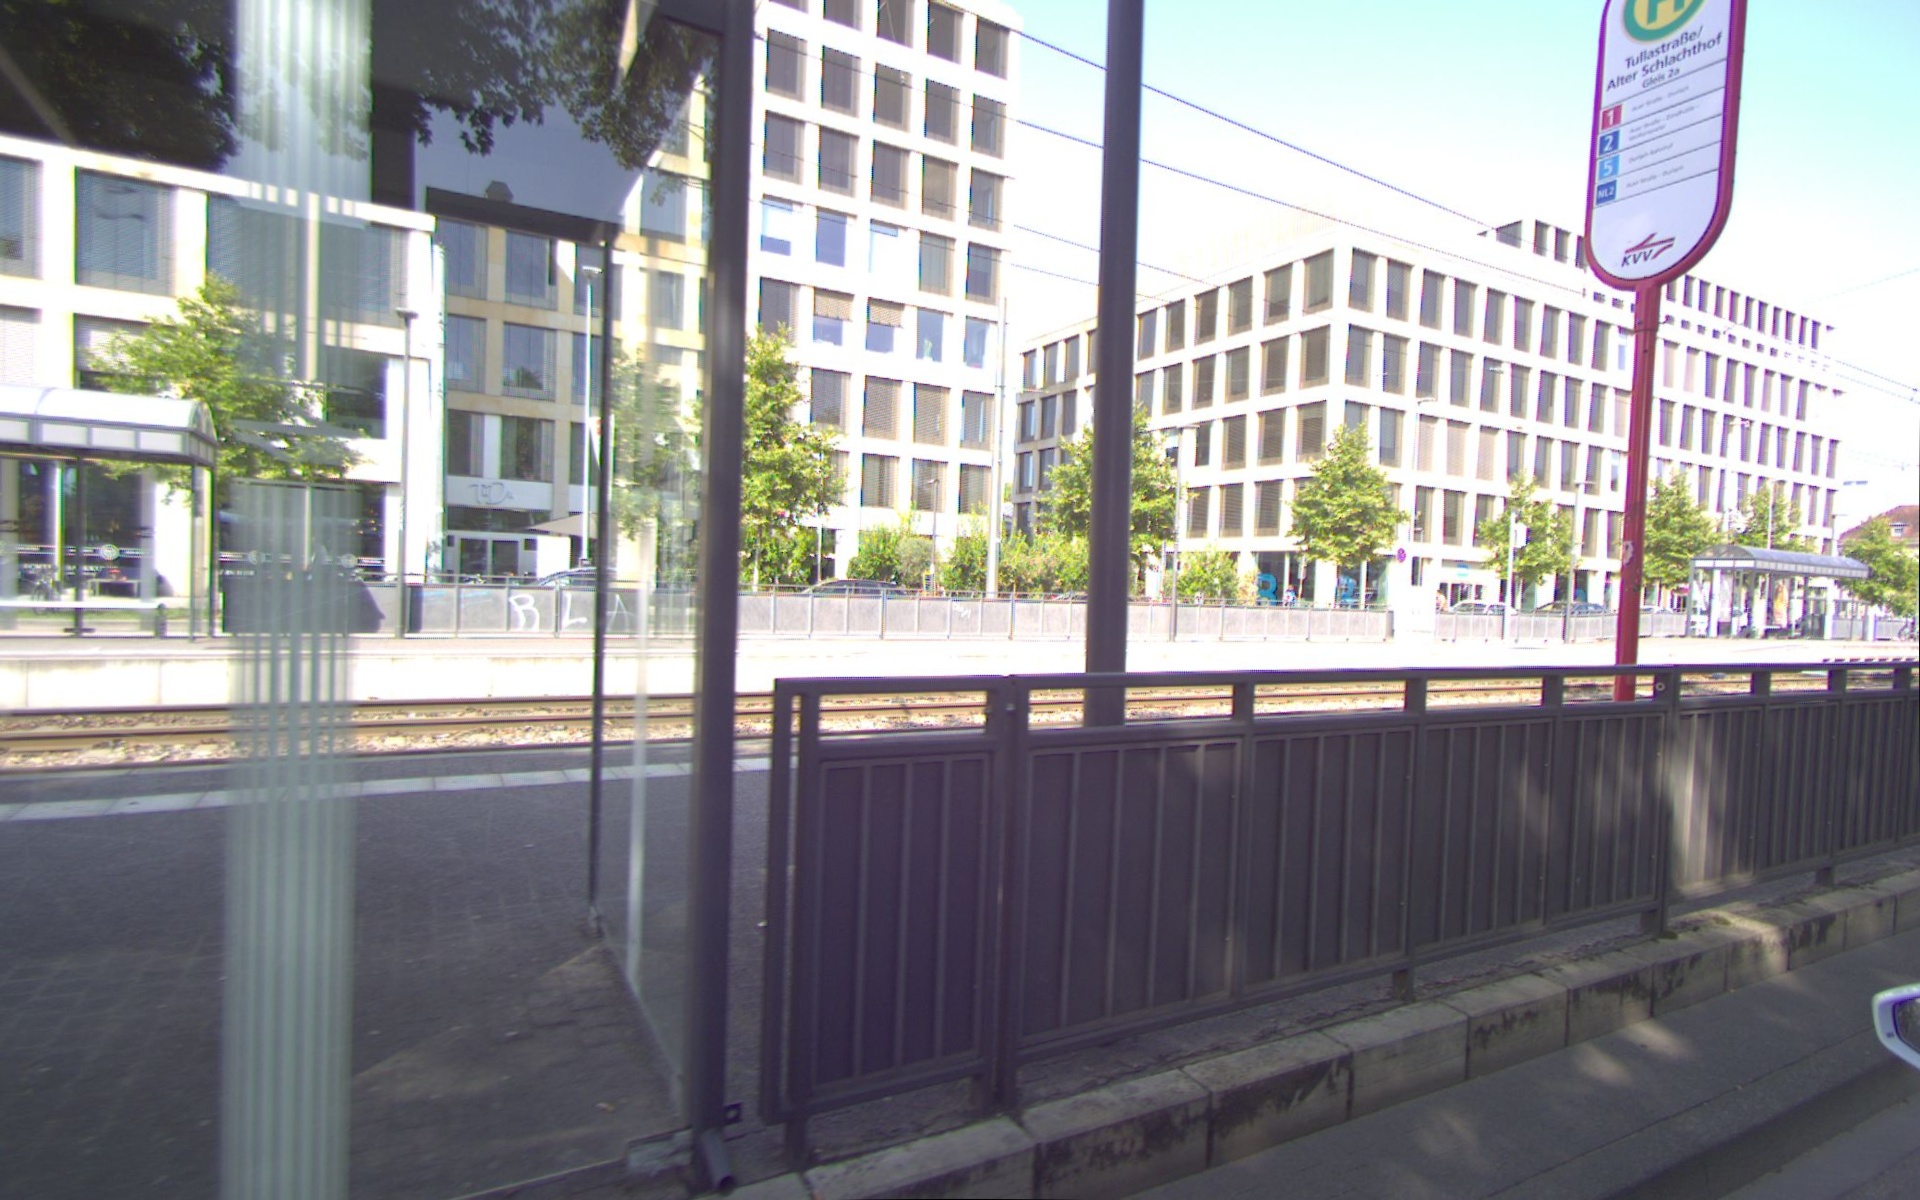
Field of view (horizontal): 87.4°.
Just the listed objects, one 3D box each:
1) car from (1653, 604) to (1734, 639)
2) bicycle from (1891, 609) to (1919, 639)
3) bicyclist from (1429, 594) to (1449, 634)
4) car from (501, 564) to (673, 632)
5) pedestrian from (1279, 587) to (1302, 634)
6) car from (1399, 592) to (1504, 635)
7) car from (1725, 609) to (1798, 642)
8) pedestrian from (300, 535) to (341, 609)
[{"bbox_3d":[36.046,1.067,49.330,4.084,1.624,1.755,2,0,-31],"label":"car"},{"bbox_3d":[39.196,0.999,41.366,1.459,1.163,0.471,2,1,-15],"label":"bicycle"},{"bbox_3d":[16.733,0.489,35.097,0.441,1.379,0.385,1,1,-29],"label":"bicyclist"},{"bbox_3d":[-8.591,-0.035,23.181,3.466,1.447,1.545,1,1,-32],"label":"car"},{"bbox_3d":[14.742,0.476,44.860,0.812,2.040,0.560,3,-2,-29],"label":"pedestrian"},{"bbox_3d":[19.259,0.534,39.328,4.084,1.595,1.755,2,0,-31],"label":"car"},{"bbox_3d":[42.949,1.364,53.806,4.084,1.624,1.755,2,0,-31],"label":"car"},{"bbox_3d":[-17.361,-0.746,27.271,0.830,1.942,0.788,3,-2,-35],"label":"pedestrian"}]
